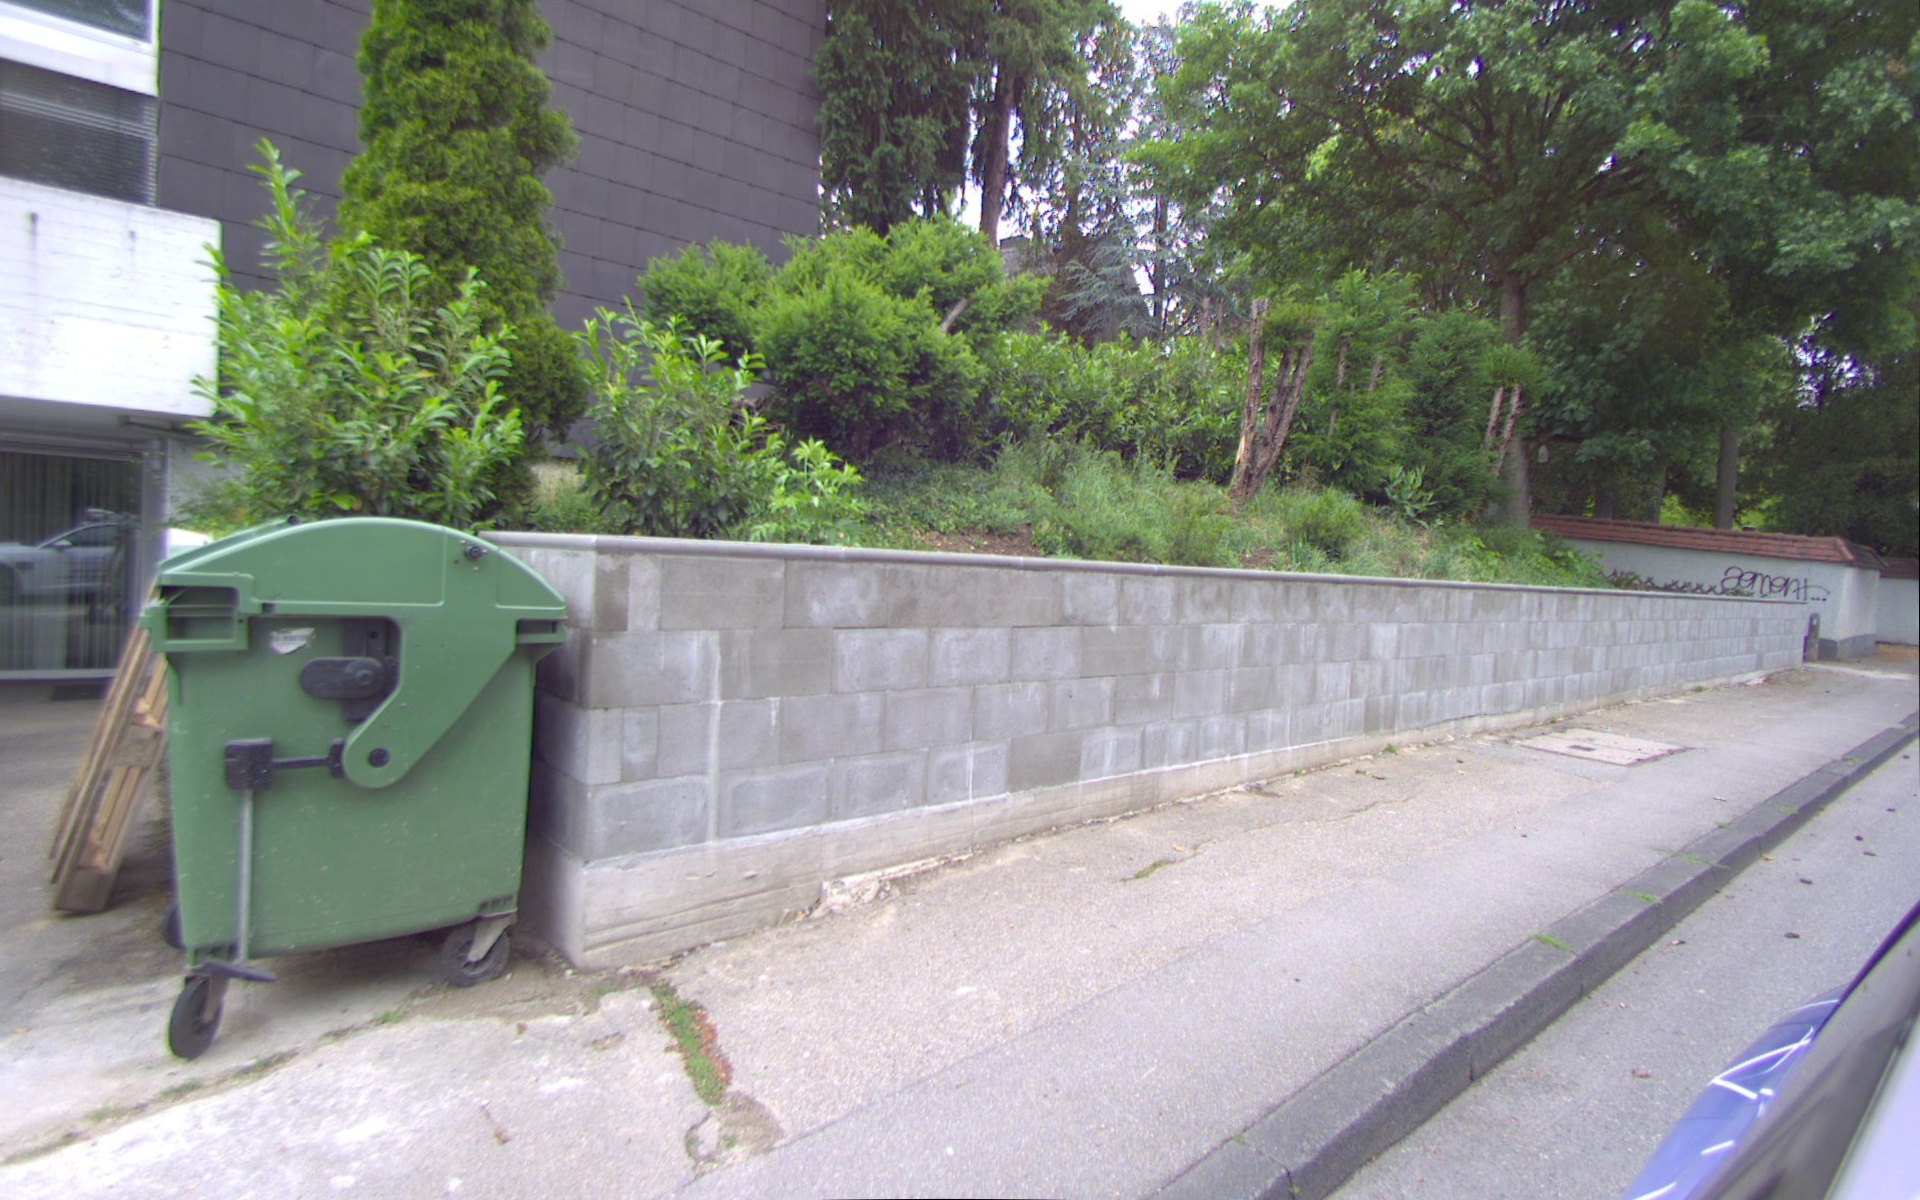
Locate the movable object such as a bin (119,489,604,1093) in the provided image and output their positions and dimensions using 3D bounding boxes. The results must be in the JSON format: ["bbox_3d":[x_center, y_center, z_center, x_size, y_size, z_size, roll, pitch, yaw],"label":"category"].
[{"bbox_3d":[-1.994,0.416,3.311,1.160,1.468,1.303,0,4,-40],"label":"movable object such as a bin"}]
